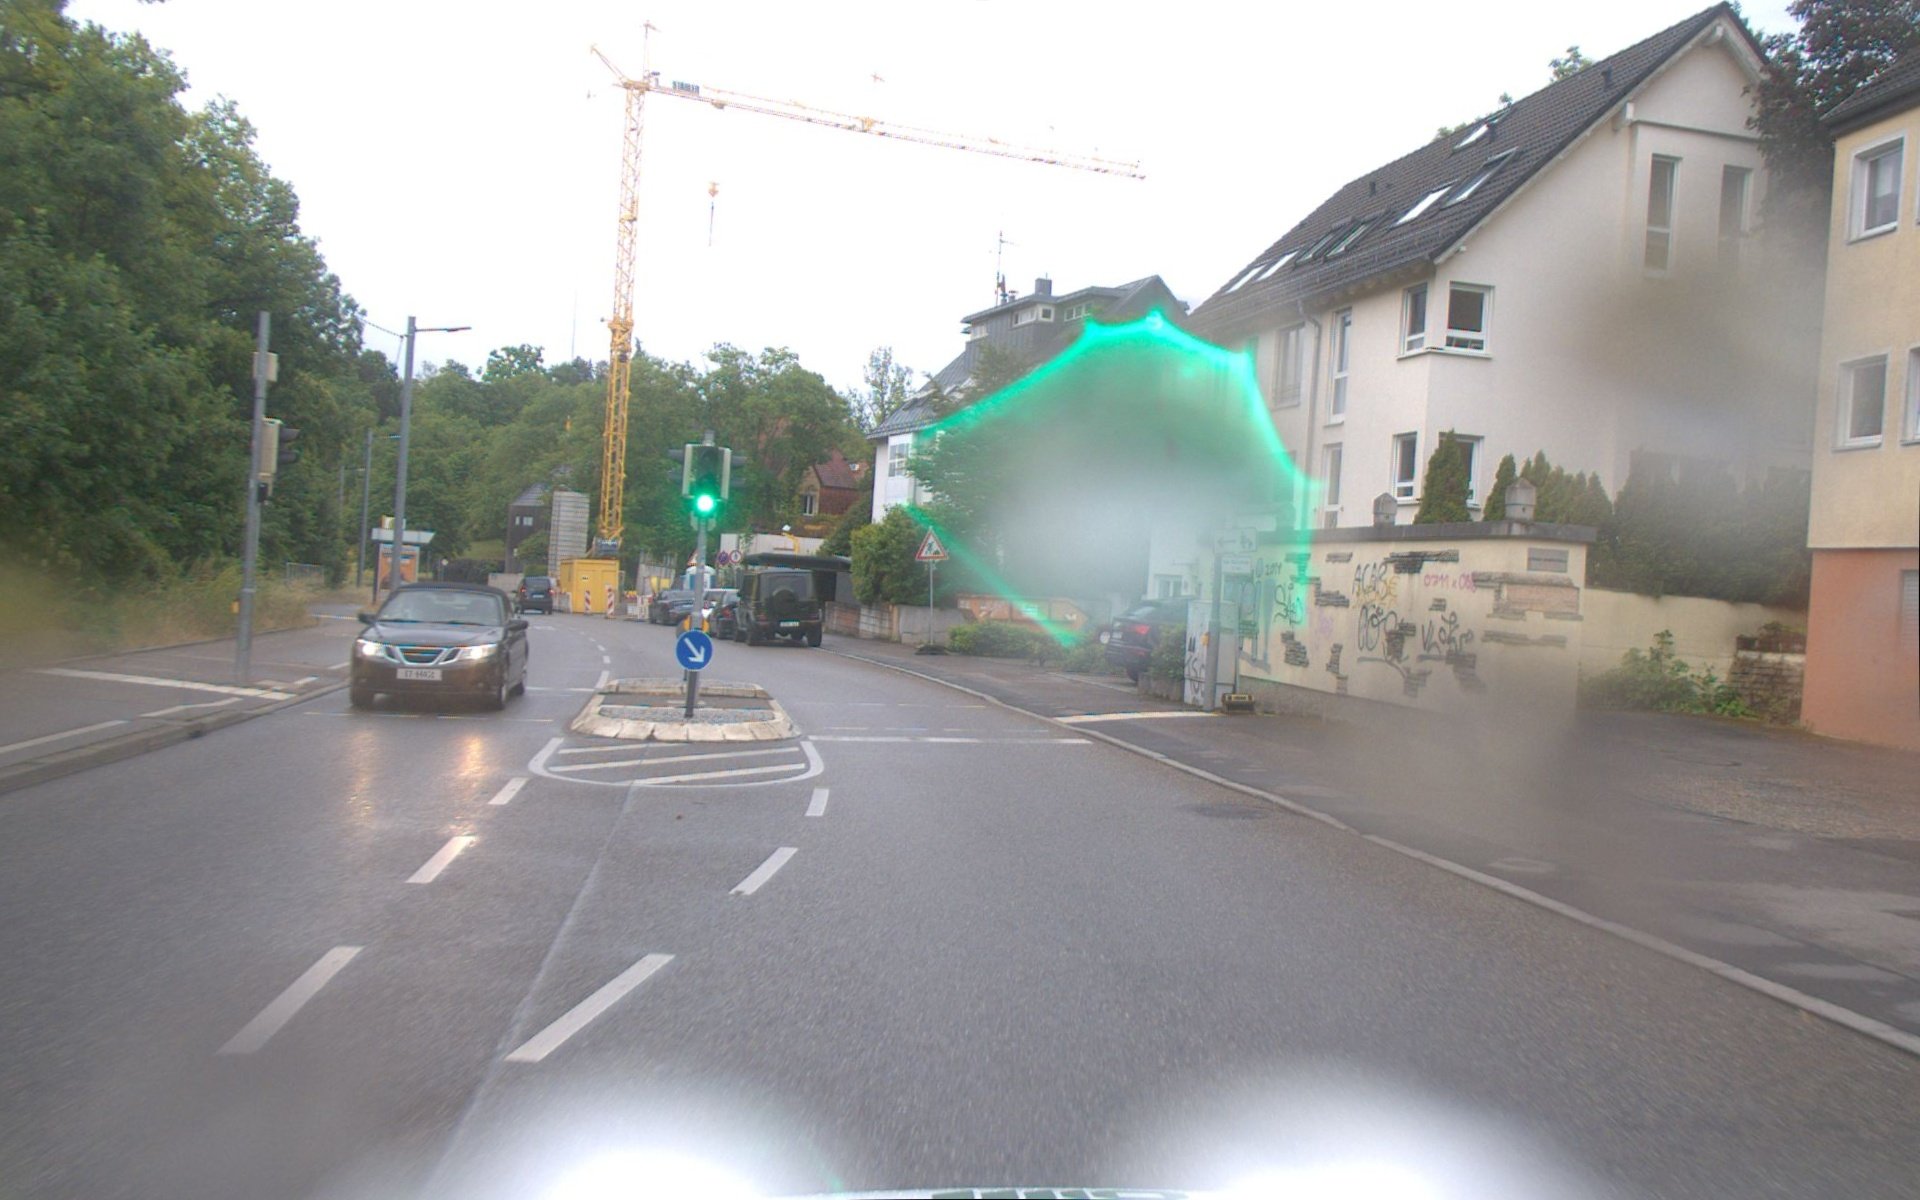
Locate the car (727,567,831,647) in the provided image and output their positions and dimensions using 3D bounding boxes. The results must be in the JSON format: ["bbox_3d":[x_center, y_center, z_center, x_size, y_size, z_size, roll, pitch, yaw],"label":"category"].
[{"bbox_3d":[-5.009,0.176,45.172,1.962,2.049,4.933,0,0,-17],"label":"car"}]

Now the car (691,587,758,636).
[{"bbox_3d":[-7.695,0.355,53.860,1.646,1.483,3.370,2,0,-17],"label":"car"}]

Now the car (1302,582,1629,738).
[{"bbox_3d":[6.229,0.692,20.977,1.900,1.623,4.325,5,-1,-15],"label":"car"}]

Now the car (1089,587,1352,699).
[{"bbox_3d":[4.744,0.776,30.373,4.256,1.623,1.985,5,-1,-14],"label":"car"}]

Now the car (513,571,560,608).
[{"bbox_3d":[-21.752,-0.565,84.857,1.904,1.781,3.976,3,0,-20],"label":"car"}]

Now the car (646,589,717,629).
[{"bbox_3d":[-11.424,0.344,67.689,1.904,1.447,4.807,3,0,-21],"label":"car"}]

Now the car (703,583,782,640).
[{"bbox_3d":[-6.604,0.322,49.966,1.899,1.624,4.378,0,0,-14],"label":"car"}]

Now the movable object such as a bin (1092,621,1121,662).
[{"bbox_3d":[3.523,1.007,39.898,0.498,0.957,0.593,2,0,-16],"label":"movable object such as a bin"}]

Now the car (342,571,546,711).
[{"bbox_3d":[-6.228,0.462,20.429,1.711,1.485,4.405,2,0,-9],"label":"car"}]
